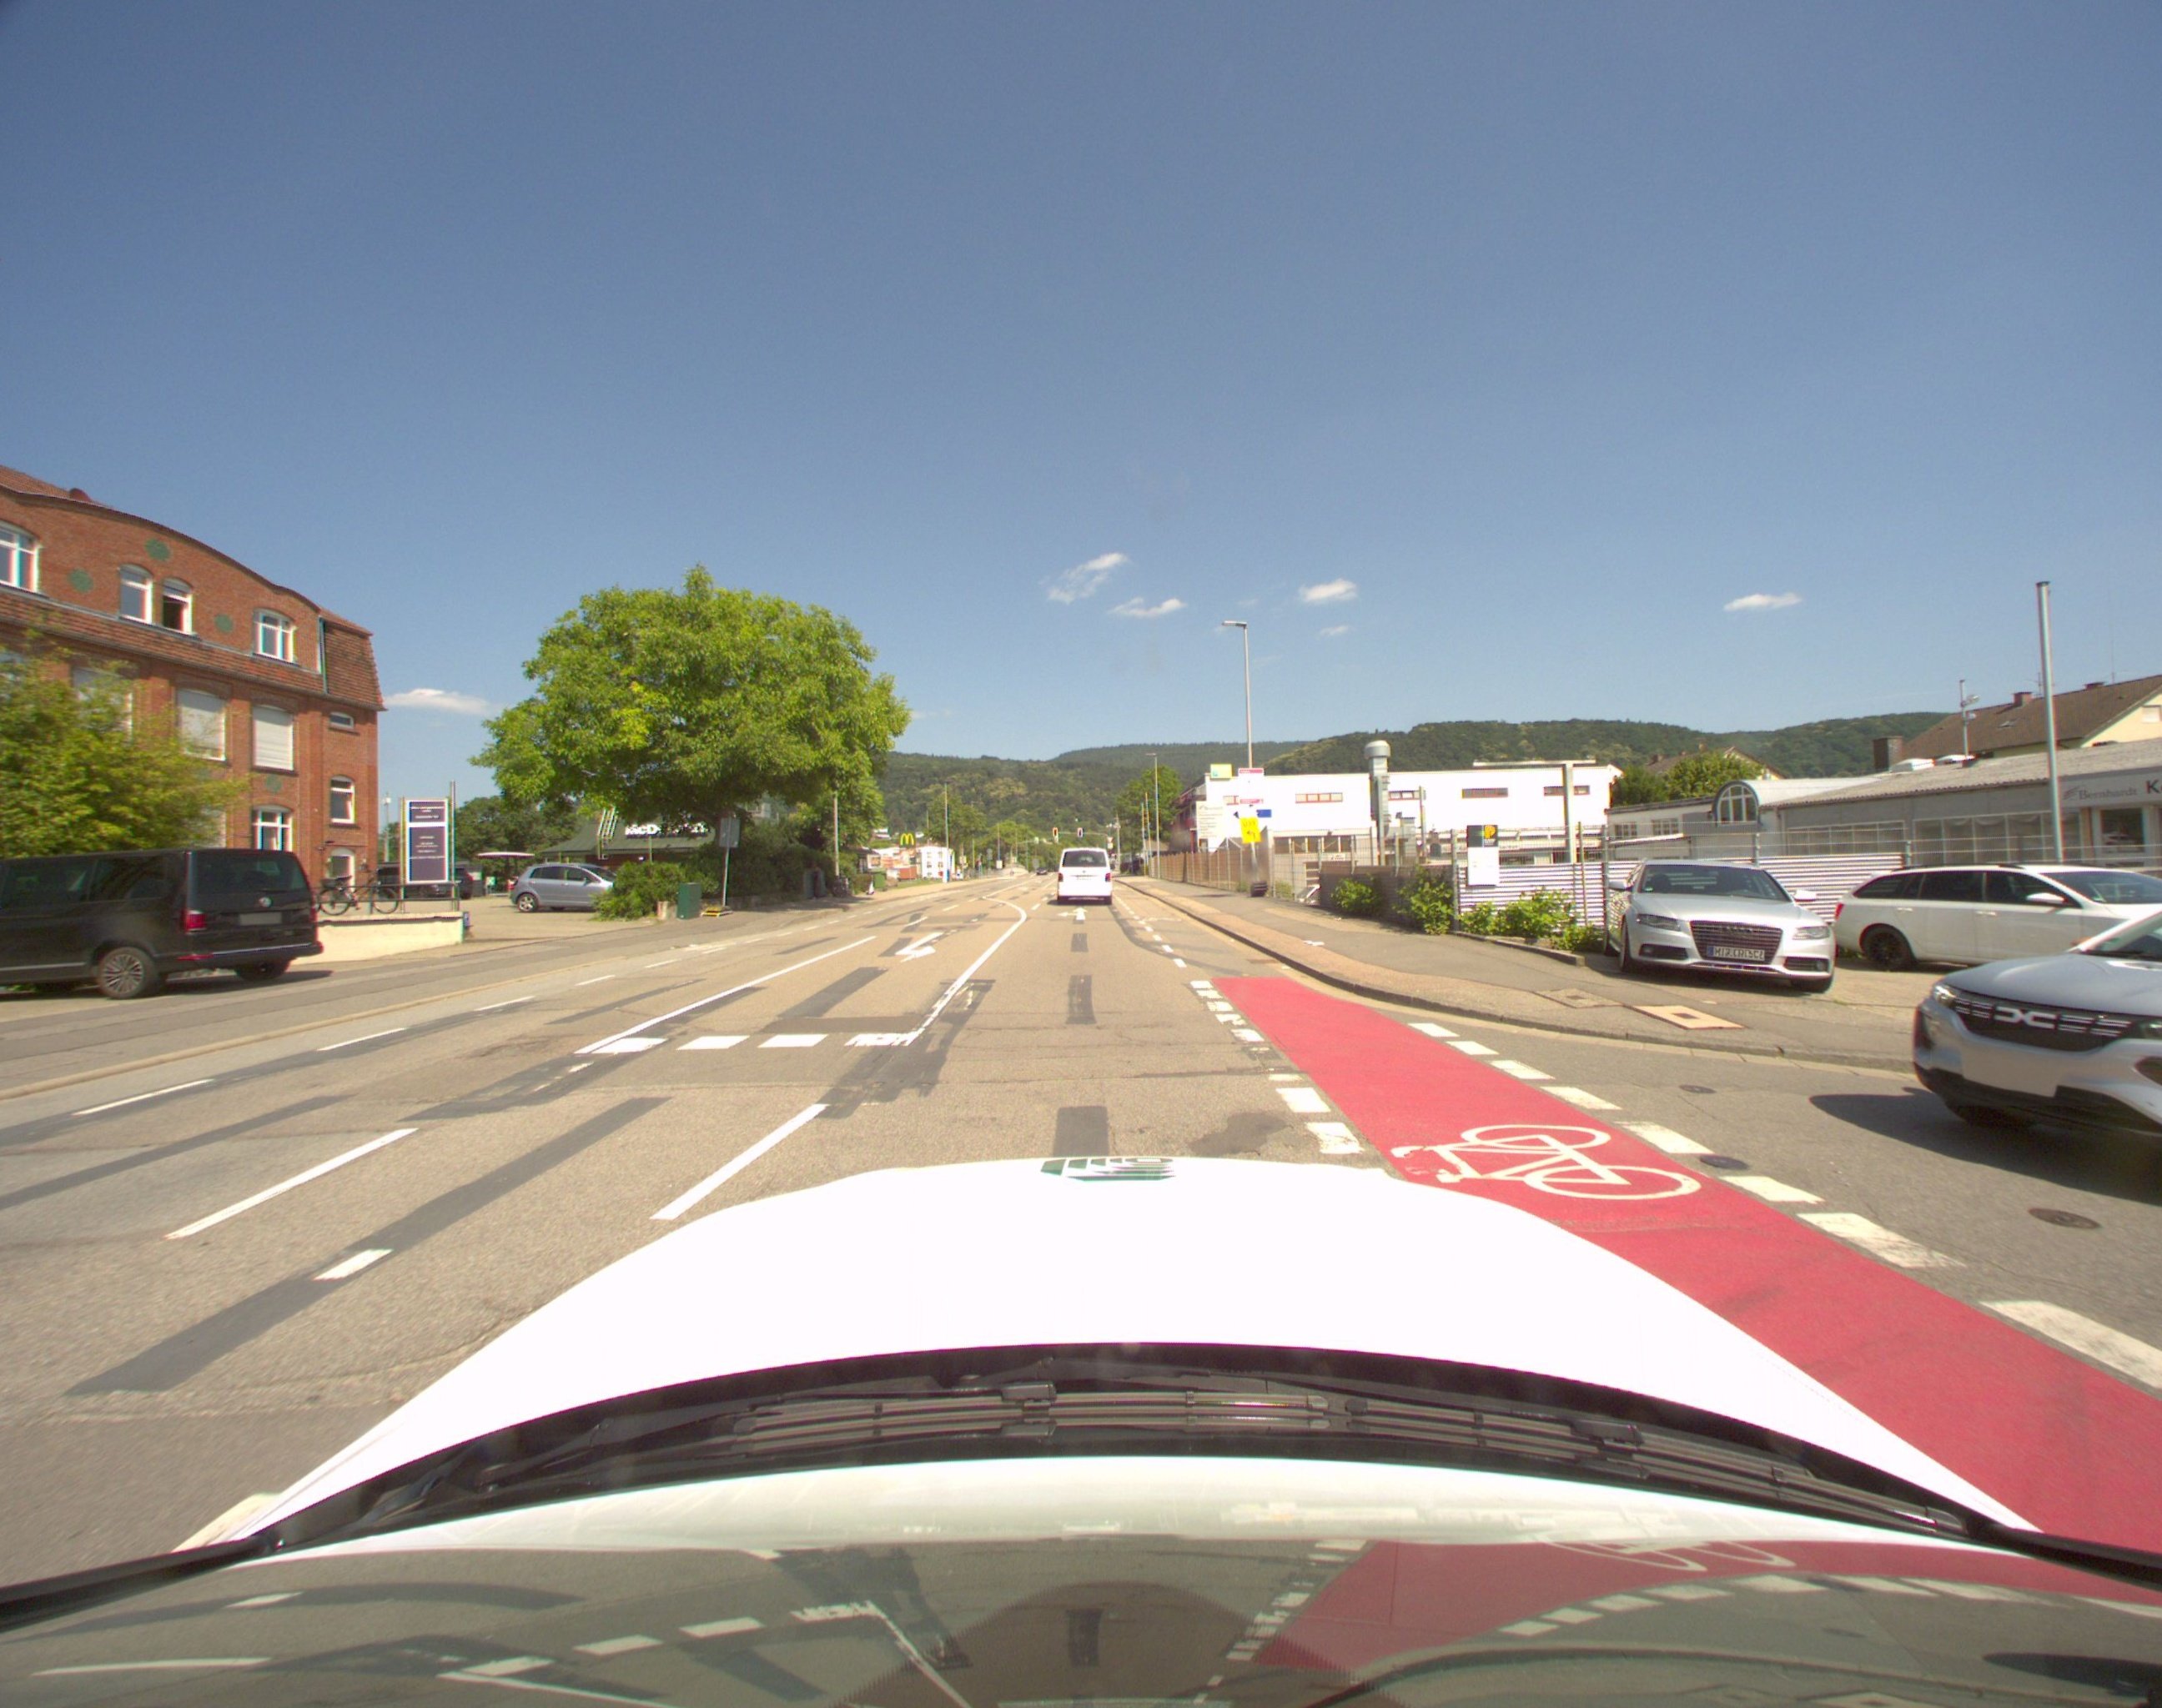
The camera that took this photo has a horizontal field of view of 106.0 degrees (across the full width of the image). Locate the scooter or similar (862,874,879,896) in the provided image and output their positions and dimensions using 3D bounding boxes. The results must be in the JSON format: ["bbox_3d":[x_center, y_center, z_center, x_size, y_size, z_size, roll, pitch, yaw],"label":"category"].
[{"bbox_3d":[-11.127,1.637,43.070,0.646,1.128,1.619,1,-1,-7],"label":"scooter or similar"}]

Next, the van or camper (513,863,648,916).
[{"bbox_3d":[-16.337,1.130,26.701,3.379,1.665,1.634,0,-1,1],"label":"van or camper"}]

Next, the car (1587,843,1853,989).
[{"bbox_3d":[7.642,0.673,10.238,1.933,1.359,4.524,2,-2,29],"label":"car"}]

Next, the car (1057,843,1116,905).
[{"bbox_3d":[0.112,0.698,29.431,1.929,2.060,4.540,-1,-1,-2],"label":"car"}]

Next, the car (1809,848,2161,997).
[{"bbox_3d":[11.981,0.709,10.084,1.842,1.504,4.504,-2,-1,-1],"label":"car"}]

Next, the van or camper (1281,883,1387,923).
[{"bbox_3d":[11.810,2.265,38.143,4.306,1.651,2.017,-1,-1,-5],"label":"van or camper"}]

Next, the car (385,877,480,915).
[{"bbox_3d":[-31.271,2.048,39.277,4.421,1.633,2.169,-3,-1,32],"label":"car"}]

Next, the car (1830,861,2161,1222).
[{"bbox_3d":[6.370,0.780,4.076,3.653,1.484,1.727,-1,-1,0],"label":"car"}]

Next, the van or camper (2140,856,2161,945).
[{"bbox_3d":[17.403,0.753,10.491,1.988,1.351,4.226,4,-1,-2],"label":"van or camper"}]

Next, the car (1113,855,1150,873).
[{"bbox_3d":[5.588,1.080,90.506,3.967,1.775,2.003,-2,-1,5],"label":"car"}]

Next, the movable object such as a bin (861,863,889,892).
[{"bbox_3d":[-12.284,1.396,48.720,1.448,1.590,1.303,-2,-1,-9],"label":"movable object such as a bin"}]

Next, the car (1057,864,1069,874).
[{"bbox_3d":[-3.062,2.619,139.807,1.844,1.588,3.999,-2,-1,0],"label":"car"}]

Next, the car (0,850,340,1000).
[{"bbox_3d":[-13.670,0.940,11.448,4.551,1.865,2.092,-1,-1,0],"label":"car"}]

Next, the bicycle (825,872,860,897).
[{"bbox_3d":[-11.467,1.462,39.255,1.024,1.118,2.762,1,-1,-3],"label":"bicycle"}]

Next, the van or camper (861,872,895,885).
[{"bbox_3d":[-25.432,3.063,102.075,3.999,1.574,1.987,1,-1,-19],"label":"van or camper"}]

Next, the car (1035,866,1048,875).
[{"bbox_3d":[-6.586,2.719,135.751,1.988,1.370,4.324,-2,-1,-1],"label":"car"}]
